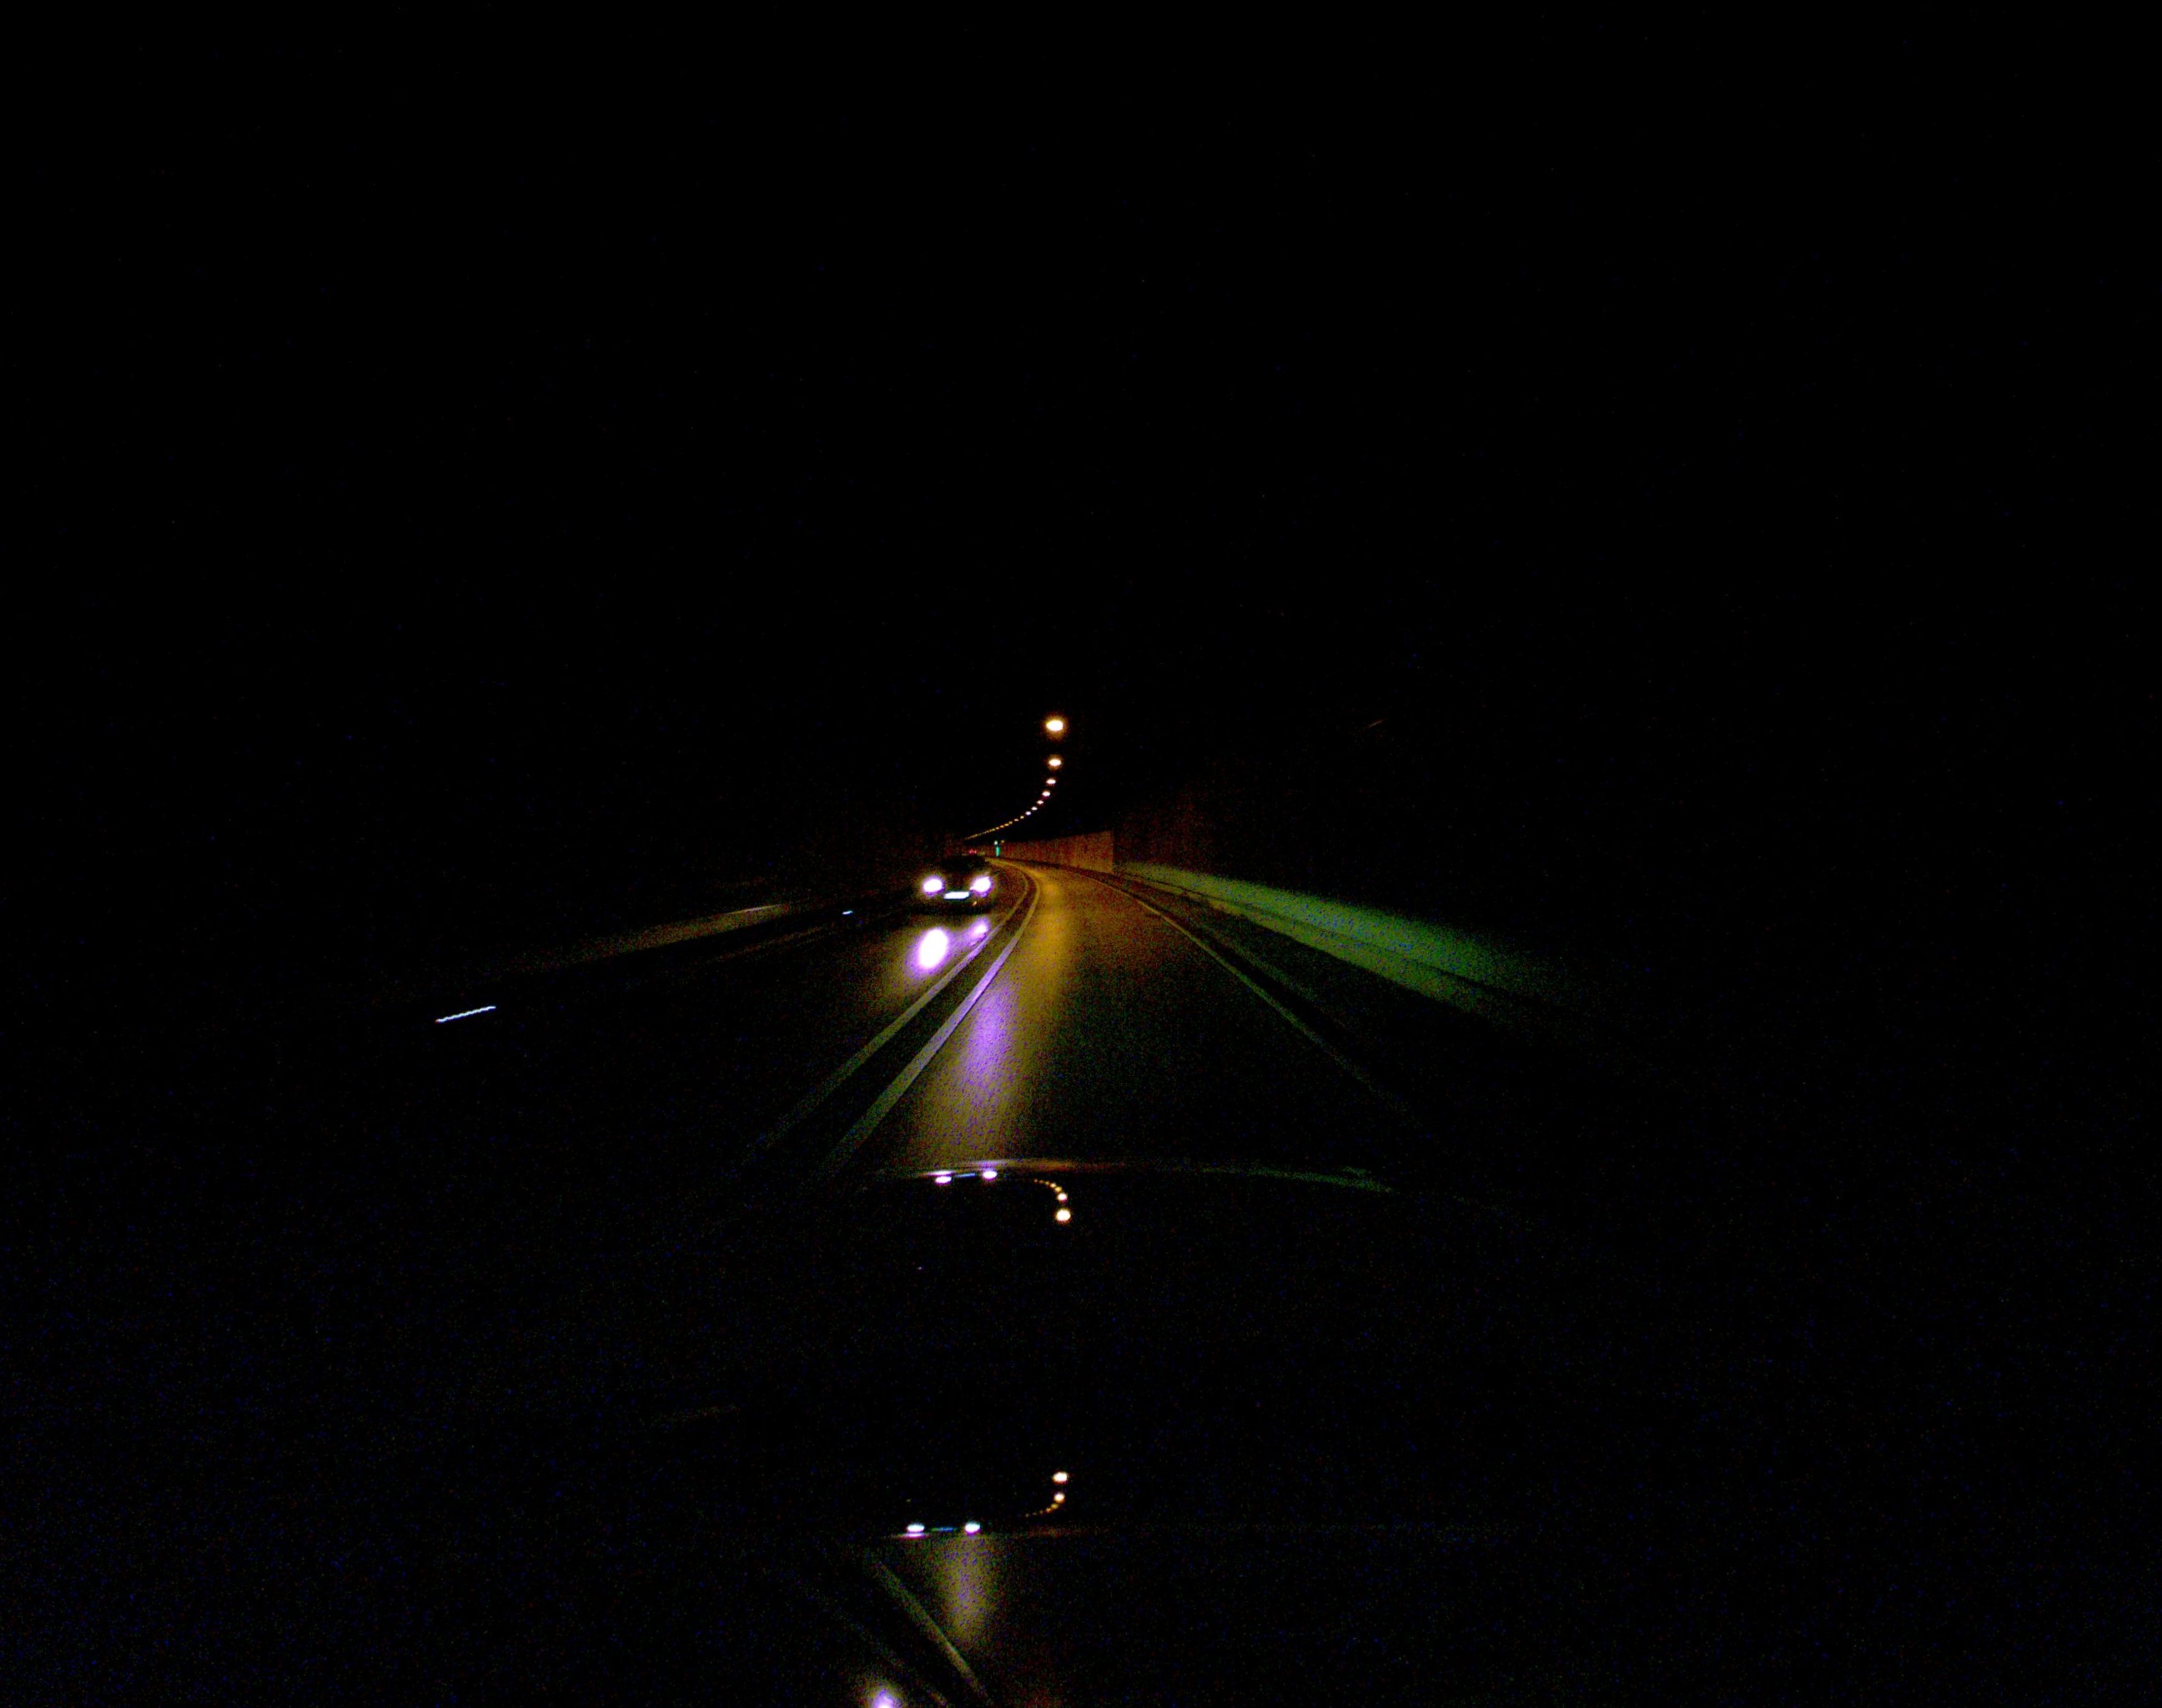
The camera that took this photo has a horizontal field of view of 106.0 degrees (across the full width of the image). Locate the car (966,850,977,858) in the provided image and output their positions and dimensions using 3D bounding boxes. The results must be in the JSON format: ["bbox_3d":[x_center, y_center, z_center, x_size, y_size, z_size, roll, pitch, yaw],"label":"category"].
[{"bbox_3d":[-27.196,0.097,202.942,1.972,1.939,4.584,0,0,-18],"label":"car"}]

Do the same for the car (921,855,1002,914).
[{"bbox_3d":[-3.170,0.761,22.405,1.712,1.443,4.390,0,0,-2],"label":"car"}]
